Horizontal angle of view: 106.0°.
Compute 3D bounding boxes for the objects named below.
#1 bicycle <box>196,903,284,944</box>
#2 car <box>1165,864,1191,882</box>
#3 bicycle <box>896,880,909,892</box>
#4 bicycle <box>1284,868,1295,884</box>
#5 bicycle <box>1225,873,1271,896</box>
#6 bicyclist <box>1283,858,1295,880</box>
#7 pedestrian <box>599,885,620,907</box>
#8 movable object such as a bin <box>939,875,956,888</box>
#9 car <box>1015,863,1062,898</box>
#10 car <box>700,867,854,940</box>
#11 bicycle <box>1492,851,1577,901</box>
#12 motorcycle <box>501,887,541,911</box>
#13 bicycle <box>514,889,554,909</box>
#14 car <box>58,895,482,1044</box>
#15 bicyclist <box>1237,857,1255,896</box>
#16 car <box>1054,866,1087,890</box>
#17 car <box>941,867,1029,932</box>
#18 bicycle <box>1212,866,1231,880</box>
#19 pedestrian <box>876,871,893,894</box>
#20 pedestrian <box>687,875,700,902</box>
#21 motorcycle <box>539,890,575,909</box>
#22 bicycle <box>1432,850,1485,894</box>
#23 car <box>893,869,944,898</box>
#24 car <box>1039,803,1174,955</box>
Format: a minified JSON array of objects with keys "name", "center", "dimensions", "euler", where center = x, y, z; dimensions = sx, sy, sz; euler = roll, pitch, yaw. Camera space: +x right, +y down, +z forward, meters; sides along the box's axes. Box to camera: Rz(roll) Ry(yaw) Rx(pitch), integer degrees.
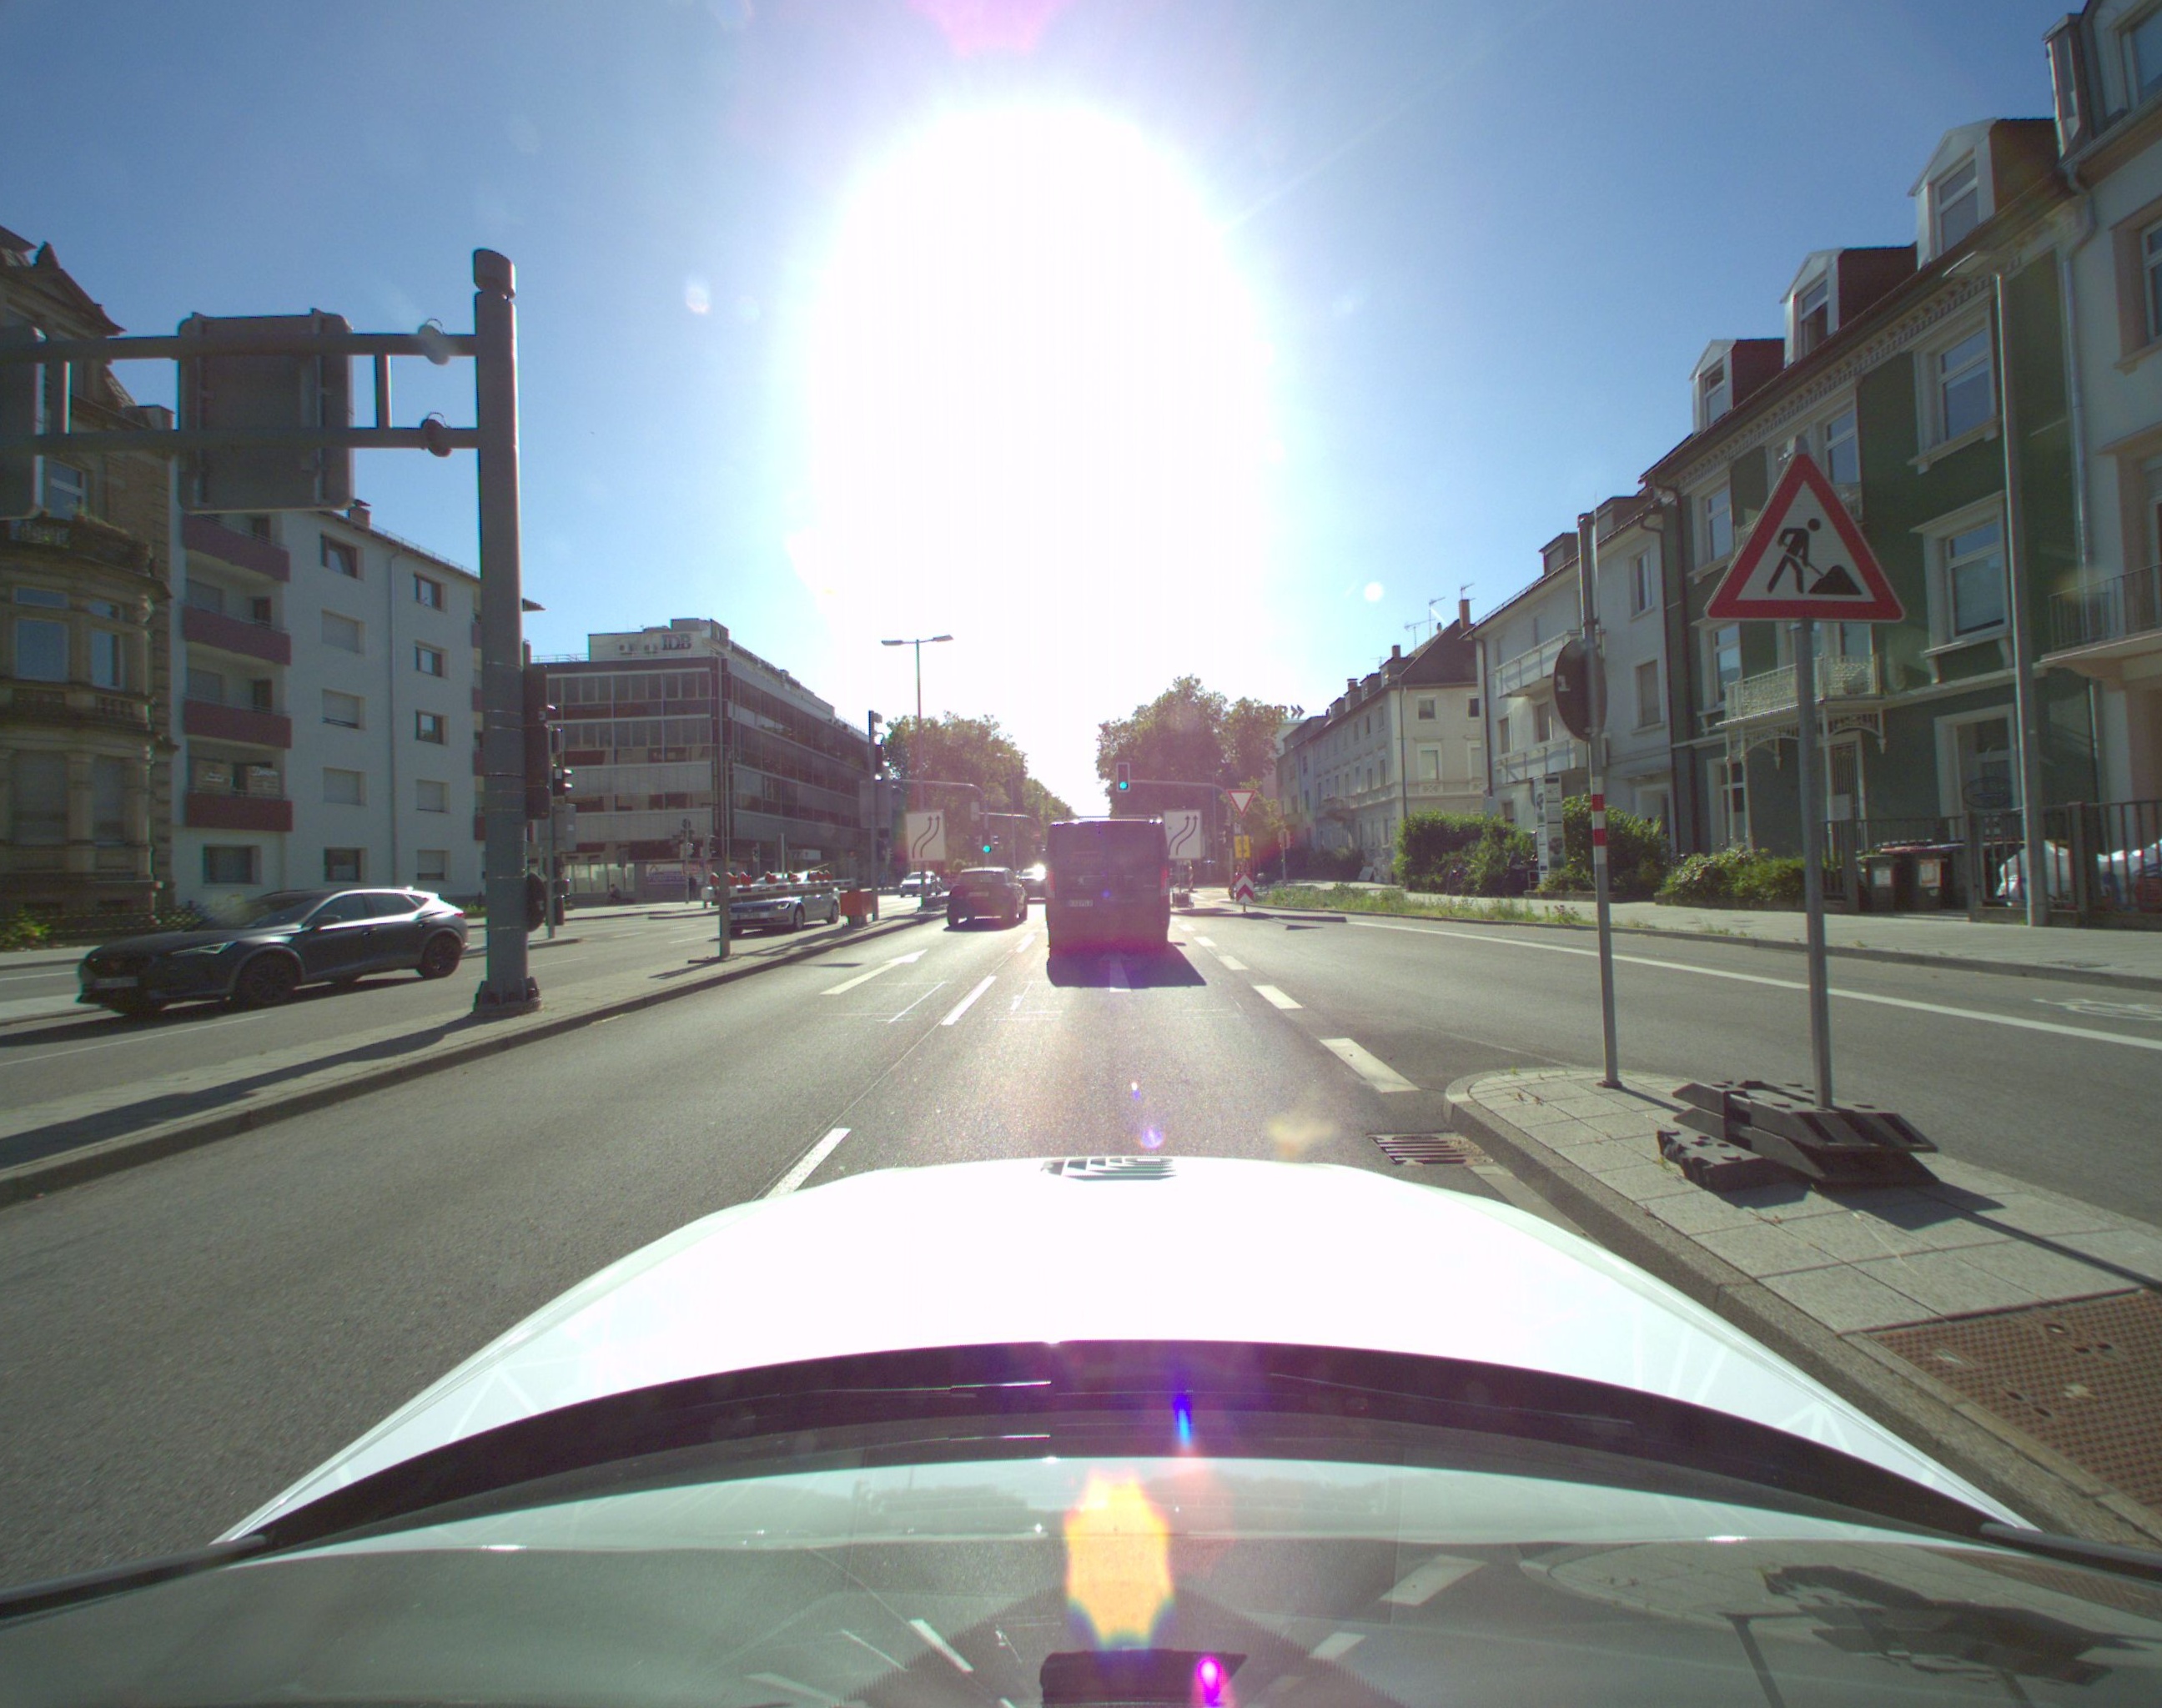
[{"name":"bicycle","center":[-22.917,1.872,22.249],"dimensions":[0.303,0.958,1.941],"euler":[-2,-1,3]},{"name":"car","center":[8.733,1.720,73.647],"dimensions":[1.845,1.479,4.942],"euler":[-2,-1,1]},{"name":"bicycle","center":[-15.839,2.857,72.445],"dimensions":[0.624,1.037,1.881],"euler":[-2,-1,4]},{"name":"bicycle","center":[14.250,1.494,55.747],"dimensions":[0.683,1.098,1.693],"euler":[-2,-1,14]},{"name":"bicycle","center":[7.513,1.373,36.660],"dimensions":[1.955,1.025,0.605],"euler":[-1,0,1]},{"name":"bicyclist","center":[14.277,1.039,55.804],"dimensions":[0.718,1.499,0.874],"euler":[-2,-1,14]},{"name":"pedestrian","center":[-25.143,2.245,43.469],"dimensions":[0.717,1.153,0.786],"euler":[-1,-1,-10]},{"name":"movable object such as a bin","center":[-13.822,2.841,84.276],"dimensions":[1.404,1.338,1.158],"euler":[-2,-1,4]},{"name":"car","center":[-1.793,1.133,35.388],"dimensions":[1.740,1.407,4.000],"euler":[-1,-1,1]},{"name":"car","center":[-7.836,1.203,21.561],"dimensions":[1.985,1.453,4.622],"euler":[-5,0,4]},{"name":"bicycle","center":[14.191,0.677,25.497],"dimensions":[2.247,1.485,0.638],"euler":[-2,-1,0]},{"name":"motorcycle","center":[-29.183,2.321,42.481],"dimensions":[0.607,1.142,1.789],"euler":[-2,-1,11]},{"name":"bicycle","center":[-29.655,2.434,44.190],"dimensions":[0.502,0.978,1.894],"euler":[-2,-1,19]},{"name":"car","center":[-11.130,1.468,11.733],"dimensions":[1.601,1.441,4.313],"euler":[-5,-1,2]},{"name":"bicyclist","center":[7.451,1.024,36.722],"dimensions":[0.601,1.708,0.859],"euler":[-2,-1,2]},{"name":"car","center":[-0.639,1.580,53.777],"dimensions":[1.903,1.444,4.606],"euler":[-1,0,3]},{"name":"car","center":[-2.384,1.103,21.089],"dimensions":[1.740,1.407,4.000],"euler":[-1,0,1]},{"name":"bicycle","center":[11.178,1.514,64.846],"dimensions":[0.581,1.005,2.145],"euler":[-3,-1,37]},{"name":"pedestrian","center":[-14.627,2.107,60.545],"dimensions":[0.859,1.711,1.015],"euler":[-2,-1,9]},{"name":"pedestrian","center":[-24.428,2.149,51.332],"dimensions":[0.702,1.658,0.739],"euler":[-1,-1,-28]},{"name":"motorcycle","center":[-28.043,2.420,43.607],"dimensions":[0.500,0.936,1.847],"euler":[-2,-1,10]},{"name":"bicycle","center":[12.988,0.600,28.100],"dimensions":[0.705,1.443,2.492],"euler":[-1,0,1]},{"name":"car","center":[-9.772,1.741,49.312],"dimensions":[1.985,1.453,4.395],"euler":[1,1,4]},{"name":"car","center":[0.459,0.410,14.801],"dimensions":[2.087,2.355,3.934],"euler":[-1,-1,1]}]
